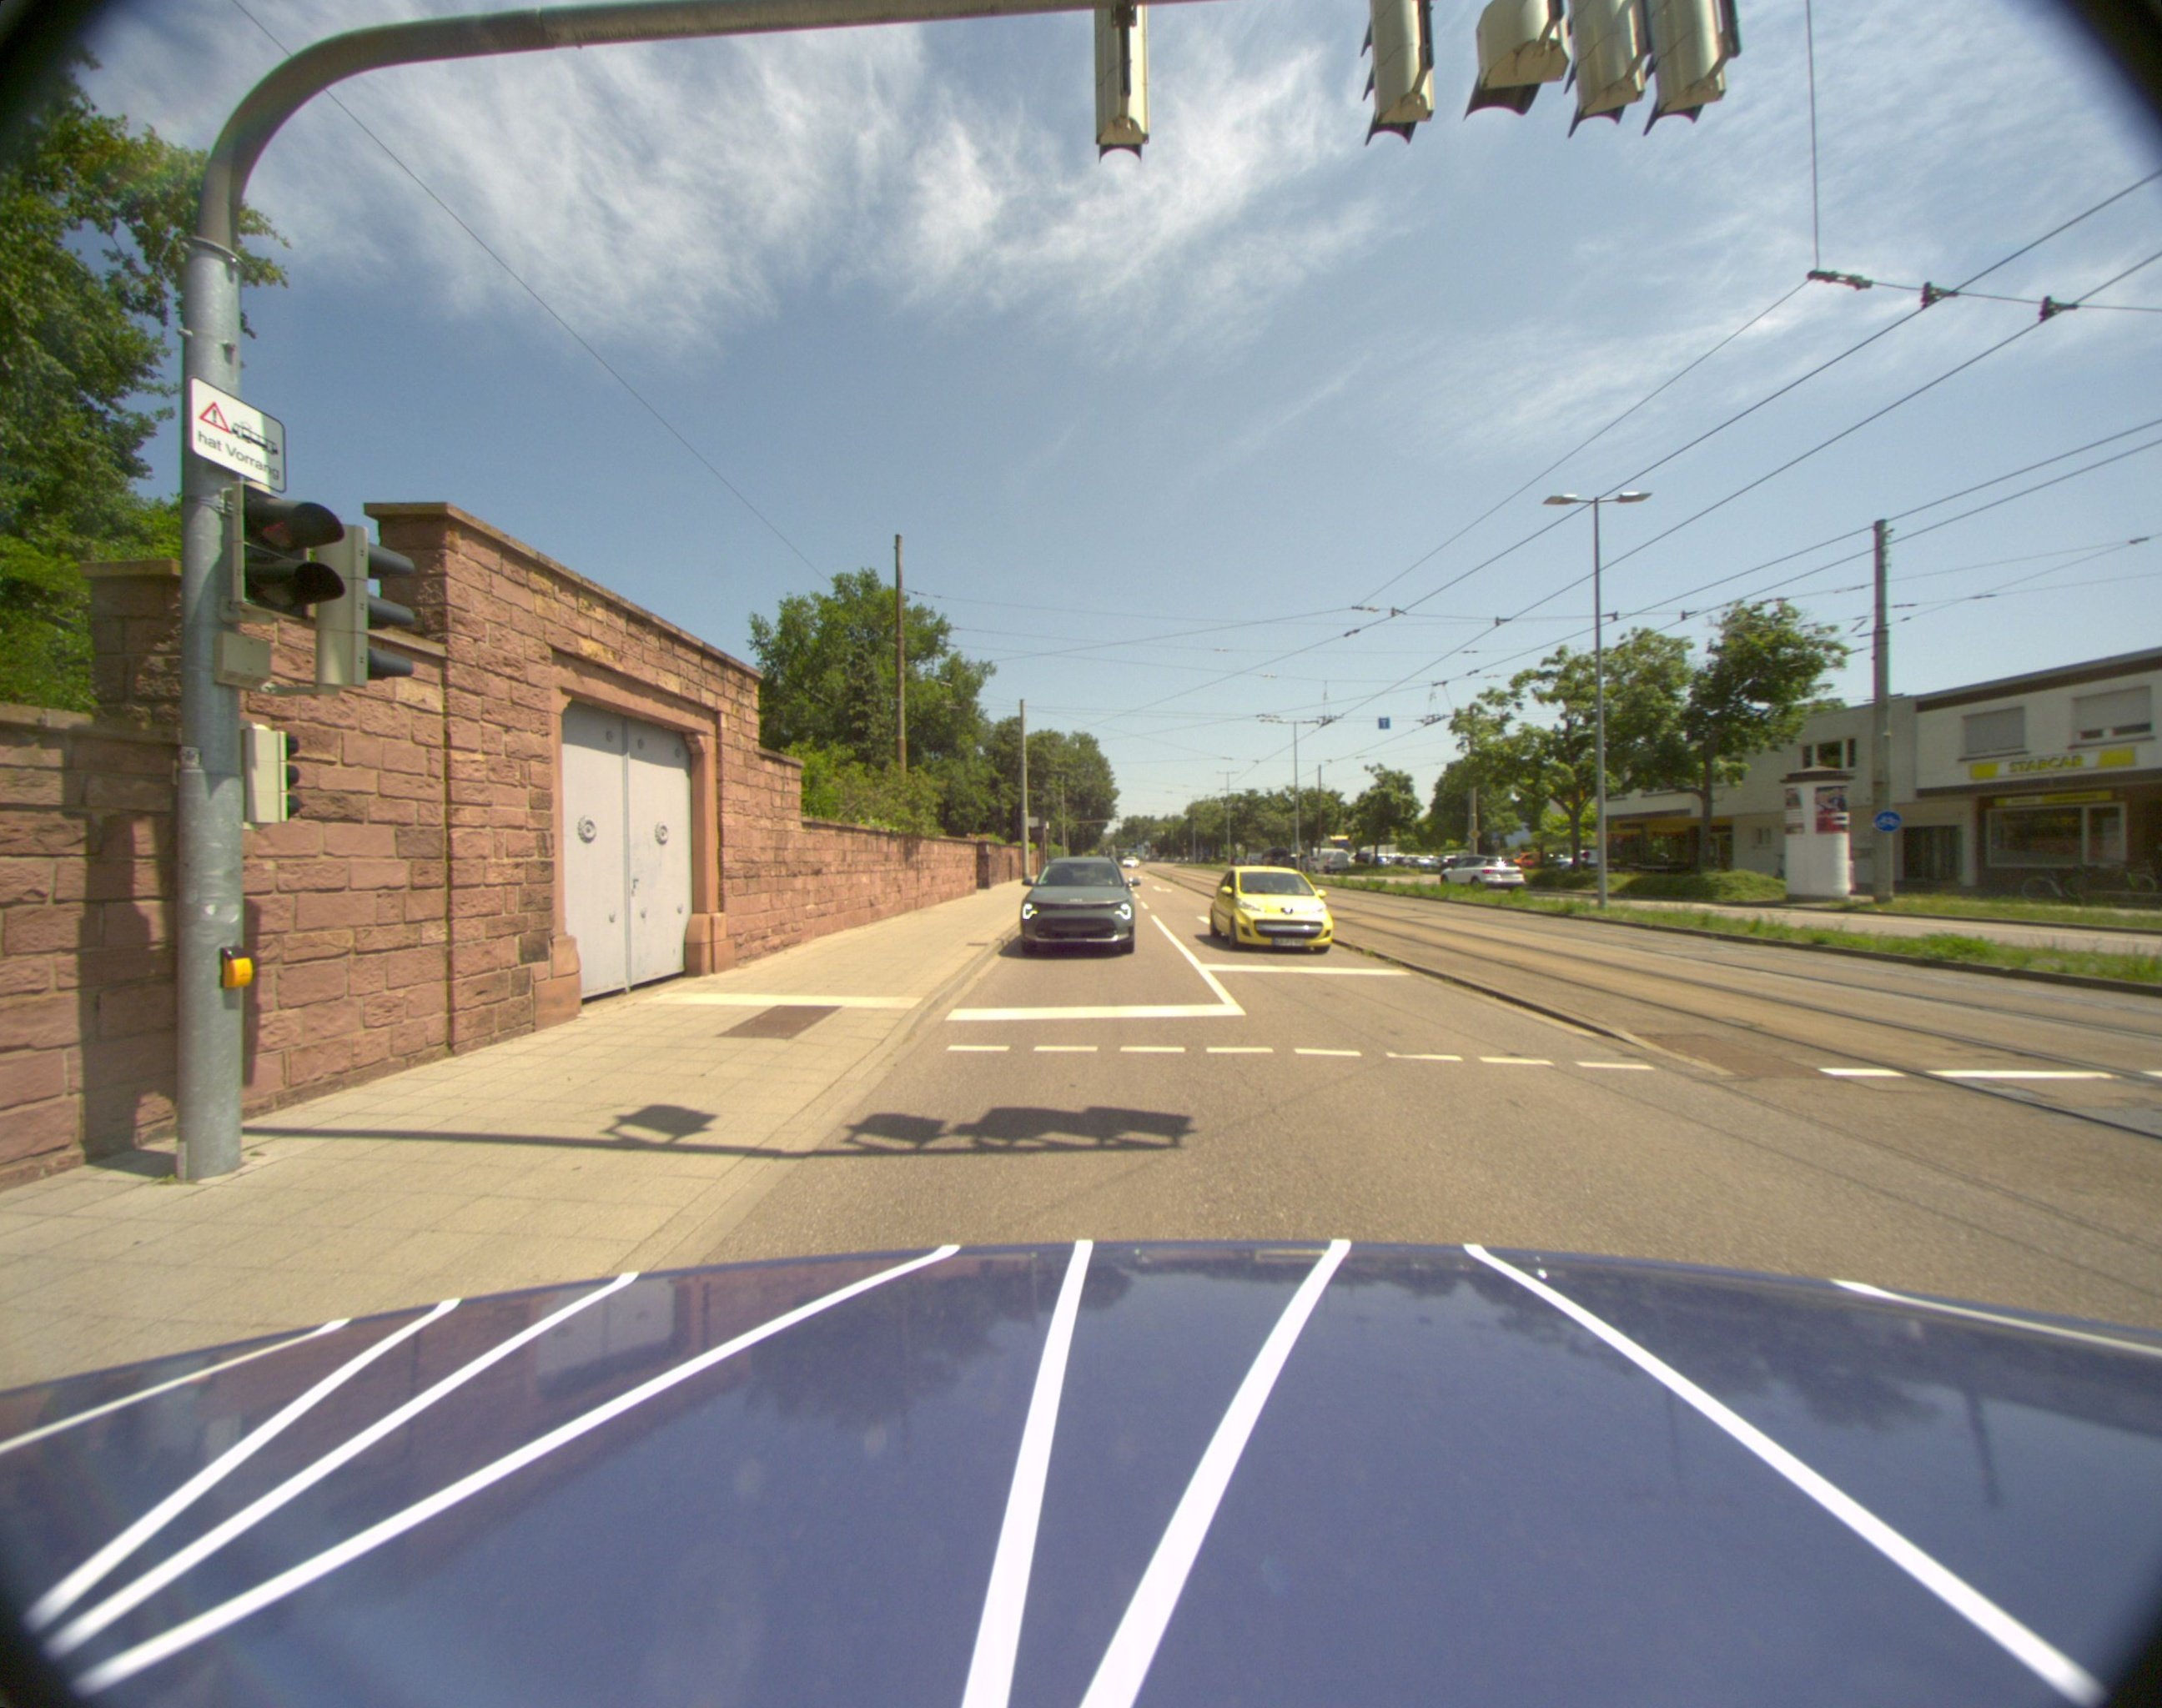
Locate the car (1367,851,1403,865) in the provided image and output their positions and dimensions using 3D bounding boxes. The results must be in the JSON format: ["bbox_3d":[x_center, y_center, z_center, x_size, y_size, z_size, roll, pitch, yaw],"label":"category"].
[{"bbox_3d":[34.013,0.443,85.063,3.414,1.497,1.603,0,0,-3],"label":"car"}]

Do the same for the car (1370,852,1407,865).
[{"bbox_3d":[33.346,0.525,82.490,3.414,1.385,1.603,0,0,-3],"label":"car"}]

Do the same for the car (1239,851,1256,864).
[{"bbox_3d":[23.882,0.527,109.173,1.681,1.783,4.203,0,0,1],"label":"car"}]

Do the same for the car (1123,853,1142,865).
[{"bbox_3d":[7.051,0.702,103.789,1.997,1.652,4.003,0,0,11],"label":"car"}]

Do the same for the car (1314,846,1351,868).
[{"bbox_3d":[22.300,0.219,67.543,1.998,1.872,4.662,0,0,2],"label":"car"}]

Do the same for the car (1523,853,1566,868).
[{"bbox_3d":[46.476,0.635,76.250,3.354,1.450,1.506,0,0,-1],"label":"car"}]

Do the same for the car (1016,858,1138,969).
[{"bbox_3d":[0.035,0.887,13.395,1.789,1.561,4.184,1,1,3],"label":"car"}]

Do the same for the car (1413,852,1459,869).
[{"bbox_3d":[32.361,0.573,69.290,3.414,1.482,1.598,0,0,-3],"label":"car"}]

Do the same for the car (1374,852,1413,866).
[{"bbox_3d":[32.729,0.539,79.612,3.414,1.385,1.603,0,0,-3],"label":"car"}]

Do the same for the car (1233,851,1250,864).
[{"bbox_3d":[24.135,0.521,114.325,1.681,1.783,4.203,0,0,1],"label":"car"}]

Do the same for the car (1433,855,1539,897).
[{"bbox_3d":[16.431,0.832,31.117,1.999,1.543,4.138,2,0,-2],"label":"car"}]

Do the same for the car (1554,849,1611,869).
[{"bbox_3d":[45.224,0.468,68.597,3.997,1.774,1.814,0,0,-1],"label":"car"}]

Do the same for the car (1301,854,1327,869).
[{"bbox_3d":[22.627,0.688,73.897,1.674,1.378,3.569,0,0,4],"label":"car"}]

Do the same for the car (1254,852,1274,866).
[{"bbox_3d":[23.720,0.618,98.484,1.681,1.783,3.869,0,0,1],"label":"car"}]

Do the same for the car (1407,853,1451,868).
[{"bbox_3d":[32.884,0.612,71.761,3.414,1.385,1.603,0,0,-3],"label":"car"}]

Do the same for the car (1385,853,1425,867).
[{"bbox_3d":[32.908,0.564,77.198,3.414,1.385,1.603,0,0,-3],"label":"car"}]

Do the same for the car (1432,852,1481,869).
[{"bbox_3d":[33.061,0.566,66.958,3.414,1.482,1.793,0,0,-3],"label":"car"}]

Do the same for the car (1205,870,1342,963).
[{"bbox_3d":[3.360,1.029,13.897,1.620,1.412,3.656,2,-1,1],"label":"car"}]

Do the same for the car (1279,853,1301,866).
[{"bbox_3d":[23.047,0.636,83.978,1.674,1.378,3.670,0,0,4],"label":"car"}]

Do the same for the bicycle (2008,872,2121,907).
[{"bbox_3d":[27.070,0.953,20.961,0.603,0.843,1.959,-3,0,2],"label":"bicycle"}]

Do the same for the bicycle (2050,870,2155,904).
[{"bbox_3d":[28.272,0.900,21.072,0.529,0.843,1.788,-3,0,2],"label":"bicycle"}]

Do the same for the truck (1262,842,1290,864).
[{"bbox_3d":[23.102,-0.070,90.037,2.225,2.526,4.930,0,0,3],"label":"truck"}]

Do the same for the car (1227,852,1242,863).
[{"bbox_3d":[24.526,0.563,121.231,1.681,1.693,3.824,0,0,1],"label":"car"}]

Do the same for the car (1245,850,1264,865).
[{"bbox_3d":[23.691,0.492,103.732,1.681,1.963,4.510,0,0,1],"label":"car"}]

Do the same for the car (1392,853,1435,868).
[{"bbox_3d":[32.388,0.606,74.038,3.414,1.385,1.603,0,0,-3],"label":"car"}]

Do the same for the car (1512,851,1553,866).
[{"bbox_3d":[46.662,0.444,78.623,3.354,1.552,1.506,0,0,-1],"label":"car"}]

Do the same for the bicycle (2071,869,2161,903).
[{"bbox_3d":[28.839,0.876,21.050,0.529,0.843,1.788,-3,0,2],"label":"bicycle"}]

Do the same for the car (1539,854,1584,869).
[{"bbox_3d":[46.325,0.724,73.245,3.354,1.381,1.506,0,0,-1],"label":"car"}]
